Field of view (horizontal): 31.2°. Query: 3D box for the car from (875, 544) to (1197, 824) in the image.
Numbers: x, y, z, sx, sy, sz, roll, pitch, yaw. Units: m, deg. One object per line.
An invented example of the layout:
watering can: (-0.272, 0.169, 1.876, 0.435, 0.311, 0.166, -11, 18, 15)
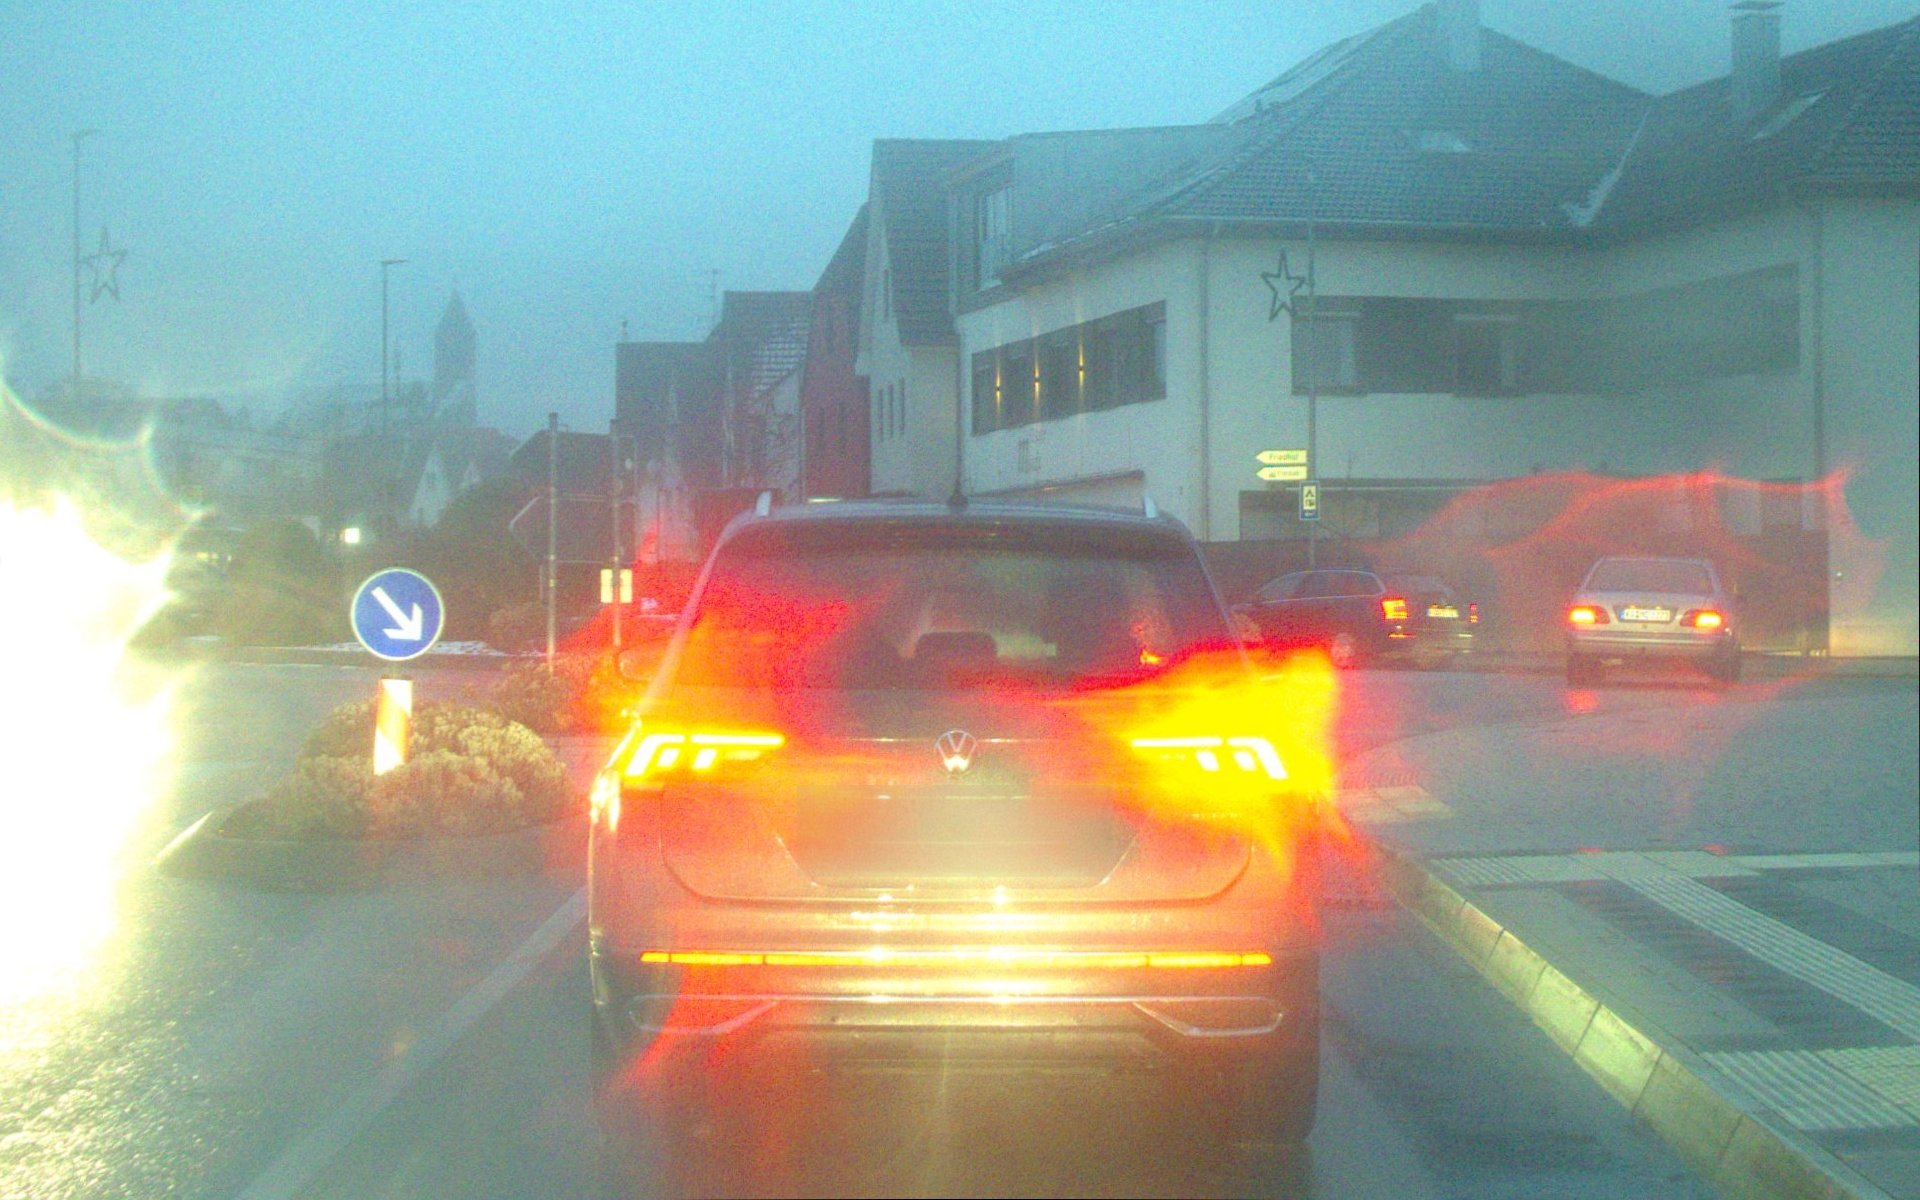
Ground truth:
car: (0.549, 0.430, 20.957, 1.778, 1.533, 3.932, 0, 1, 4)

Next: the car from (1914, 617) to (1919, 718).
car: (15.255, 0.921, 46.410, 4.220, 1.379, 1.850, 1, -2, -2)

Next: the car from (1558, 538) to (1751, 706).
car: (7.719, 0.202, 37.972, 1.823, 1.622, 3.998, -2, 2, 15)

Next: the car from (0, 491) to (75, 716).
car: (-8.902, 0.002, 29.247, 1.719, 1.806, 4.137, 0, 1, -28)

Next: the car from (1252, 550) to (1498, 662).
car: (5.598, 0.061, 46.853, 1.645, 1.460, 4.001, 0, 1, -21)

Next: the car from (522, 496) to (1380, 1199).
car: (-0.104, 0.546, 9.701, 1.915, 1.609, 3.951, 1, 1, -3)
